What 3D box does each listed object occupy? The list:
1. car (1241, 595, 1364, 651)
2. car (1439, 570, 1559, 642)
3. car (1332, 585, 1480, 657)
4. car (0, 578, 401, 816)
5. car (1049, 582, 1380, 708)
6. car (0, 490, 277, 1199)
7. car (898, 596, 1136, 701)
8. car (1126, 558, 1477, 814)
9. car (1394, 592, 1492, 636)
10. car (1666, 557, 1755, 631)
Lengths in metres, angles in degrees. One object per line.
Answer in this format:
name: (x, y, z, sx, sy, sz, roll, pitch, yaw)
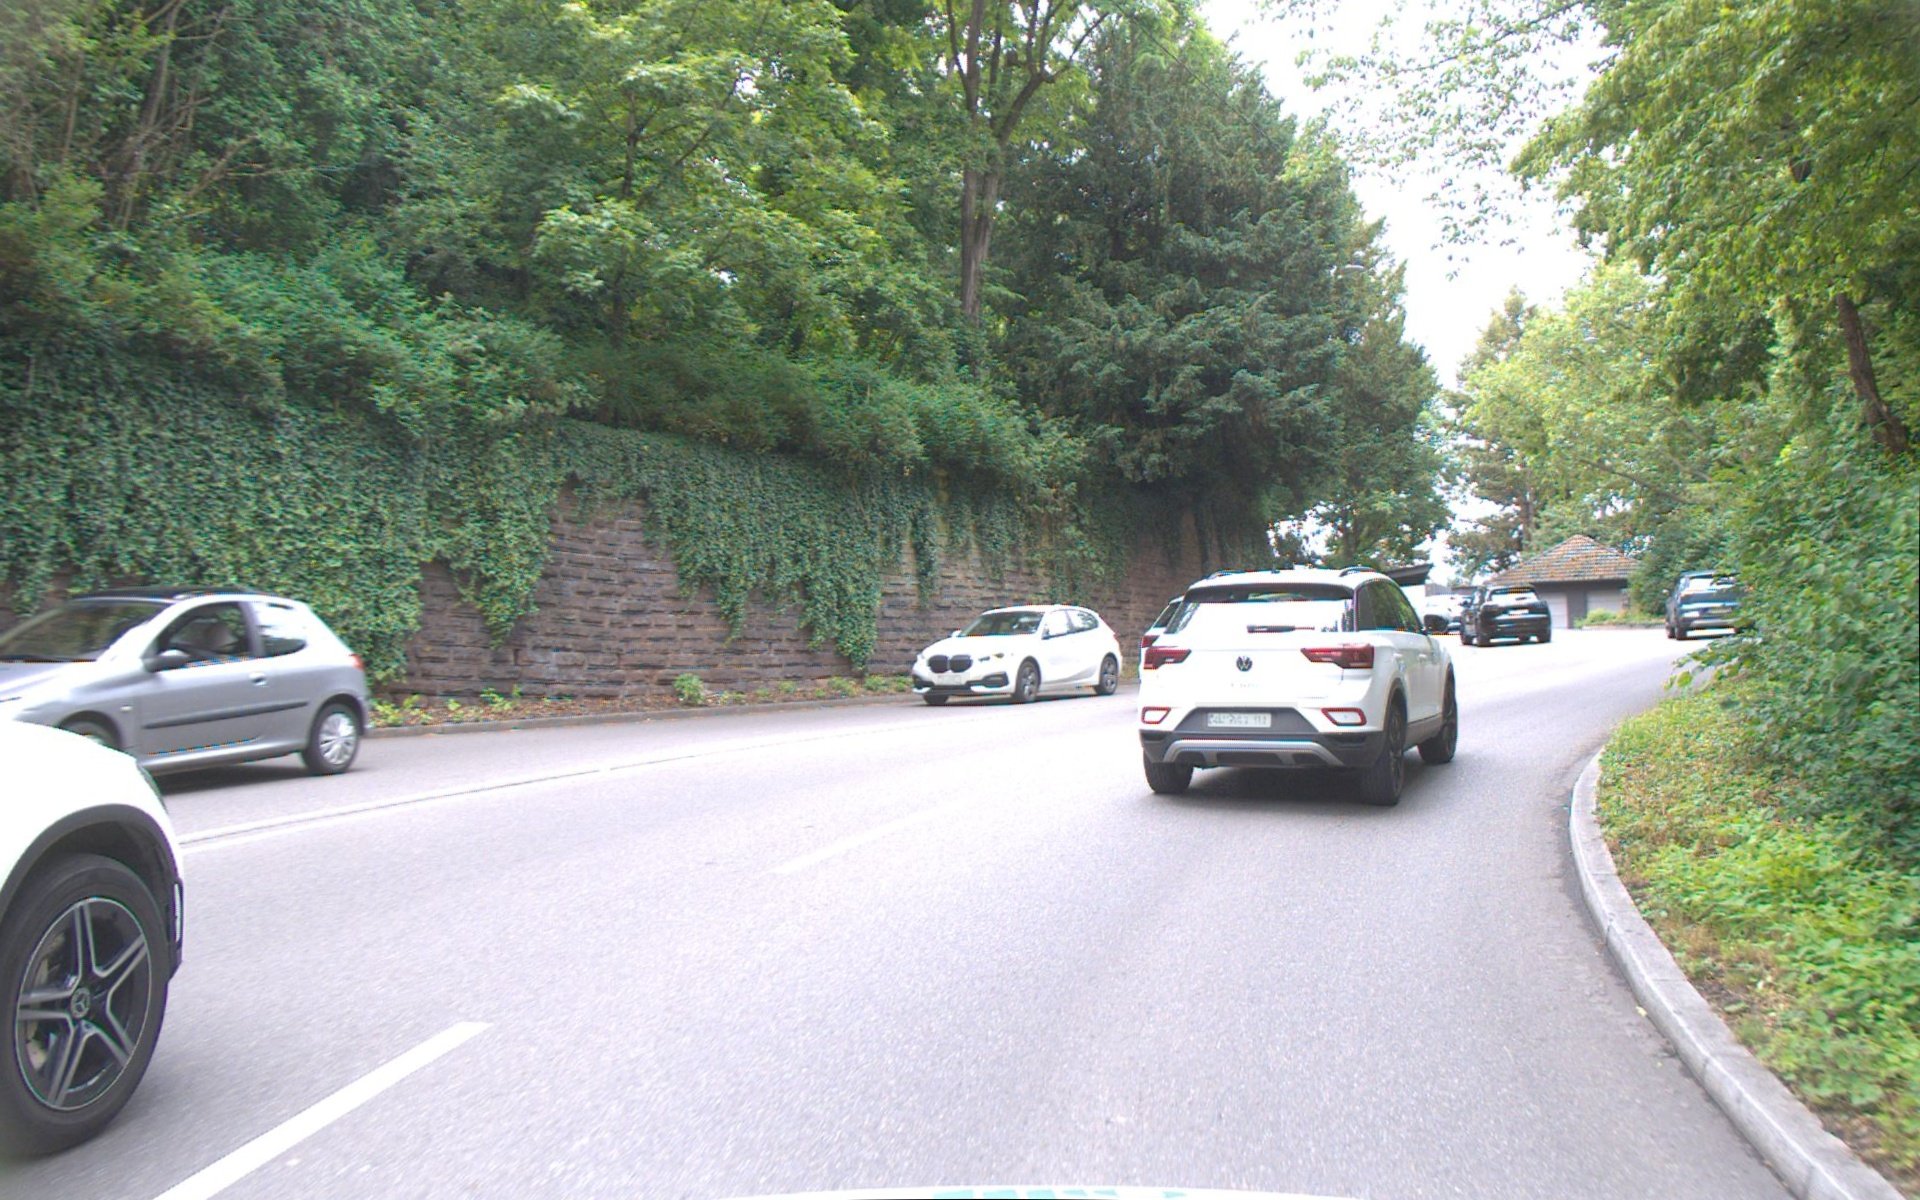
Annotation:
car: (11.539, 0.805, 56.040, 1.836, 1.625, 4.600, -3, -2, -21)
car: (15.230, 0.175, 46.941, 1.921, 1.794, 4.222, -5, -1, 0)
car: (11.282, 0.501, 41.696, 1.821, 1.678, 4.486, -3, -2, 40)
car: (-5.942, 0.602, 12.033, 1.573, 1.443, 3.755, 0, -1, 19)
car: (3.570, 0.587, 22.689, 4.732, 1.561, 1.844, 0, -2, -40)
car: (-3.138, 0.540, 2.716, 1.820, 1.634, 4.673, 1, 0, 4)
car: (0.981, 0.712, 25.708, 1.715, 1.441, 4.318, -4, -2, 32)
car: (2.789, 0.486, 12.690, 1.719, 1.579, 4.335, 1, 2, 24)
car: (17.746, 0.508, 60.912, 1.602, 1.444, 3.838, 3, 0, -16)
car: (17.824, -0.089, 39.396, 1.635, 1.527, 4.022, -5, -3, 22)
